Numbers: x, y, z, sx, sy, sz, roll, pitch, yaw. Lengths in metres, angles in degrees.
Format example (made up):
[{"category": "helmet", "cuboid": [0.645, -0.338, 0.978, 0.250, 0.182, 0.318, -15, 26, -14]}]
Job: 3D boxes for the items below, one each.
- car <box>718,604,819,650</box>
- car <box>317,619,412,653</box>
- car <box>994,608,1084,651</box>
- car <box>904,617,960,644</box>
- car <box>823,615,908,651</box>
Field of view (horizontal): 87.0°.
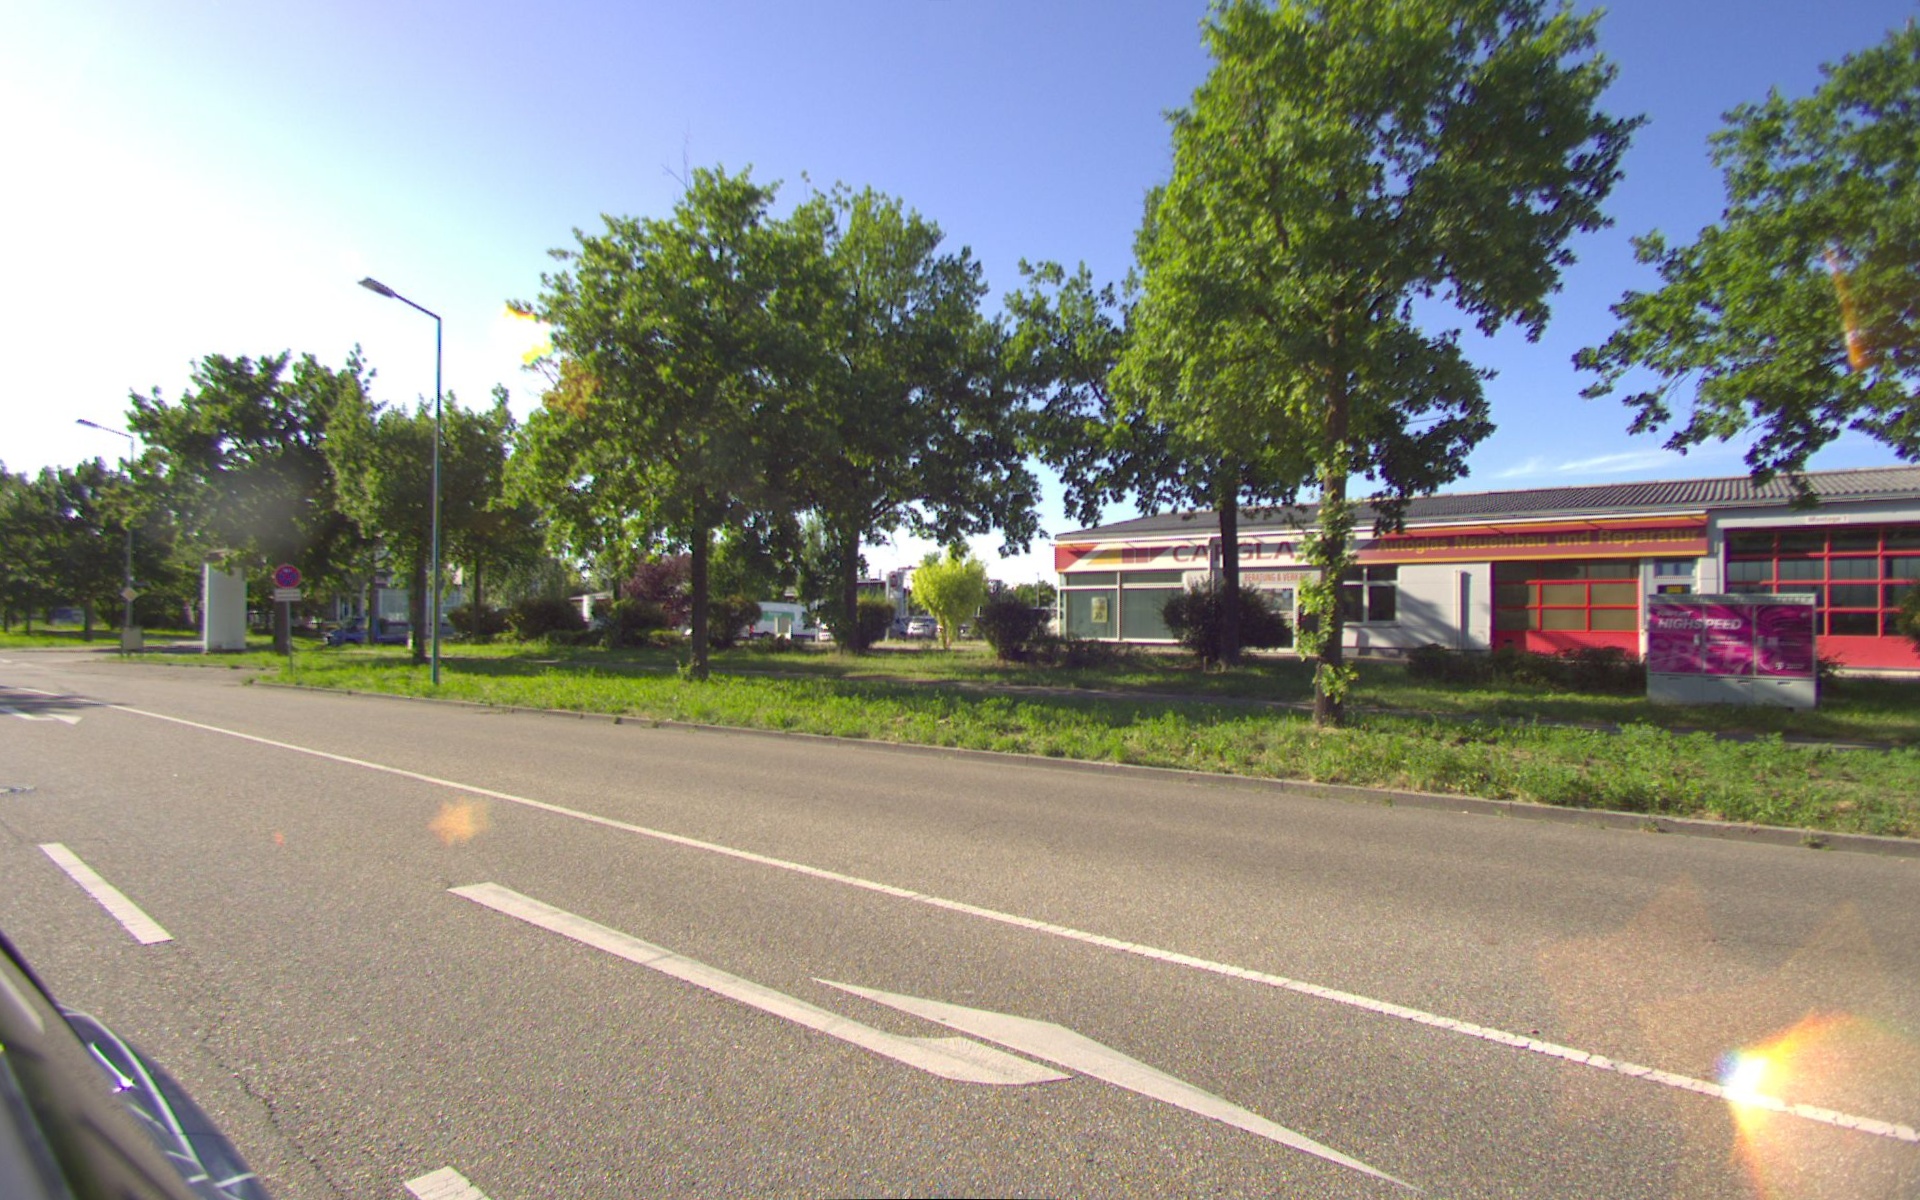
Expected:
[{"category": "car", "cuboid": [-11.457, 1.589, 61.004, 2.406, 2.574, 5.952, -1, 0, 36]}, {"category": "car", "cuboid": [-35.976, 2.148, 61.240, 1.999, 1.847, 4.578, -1, 0, 41]}, {"category": "car", "cuboid": [3.207, 1.149, 40.608, 1.734, 1.583, 3.769, -3, -1, 40]}, {"category": "car", "cuboid": [-1.876, 2.039, 68.627, 1.761, 1.684, 3.811, -1, 0, 40]}, {"category": "car", "cuboid": [-5.151, 1.759, 55.793, 1.989, 1.795, 4.583, -1, 0, 40]}]
